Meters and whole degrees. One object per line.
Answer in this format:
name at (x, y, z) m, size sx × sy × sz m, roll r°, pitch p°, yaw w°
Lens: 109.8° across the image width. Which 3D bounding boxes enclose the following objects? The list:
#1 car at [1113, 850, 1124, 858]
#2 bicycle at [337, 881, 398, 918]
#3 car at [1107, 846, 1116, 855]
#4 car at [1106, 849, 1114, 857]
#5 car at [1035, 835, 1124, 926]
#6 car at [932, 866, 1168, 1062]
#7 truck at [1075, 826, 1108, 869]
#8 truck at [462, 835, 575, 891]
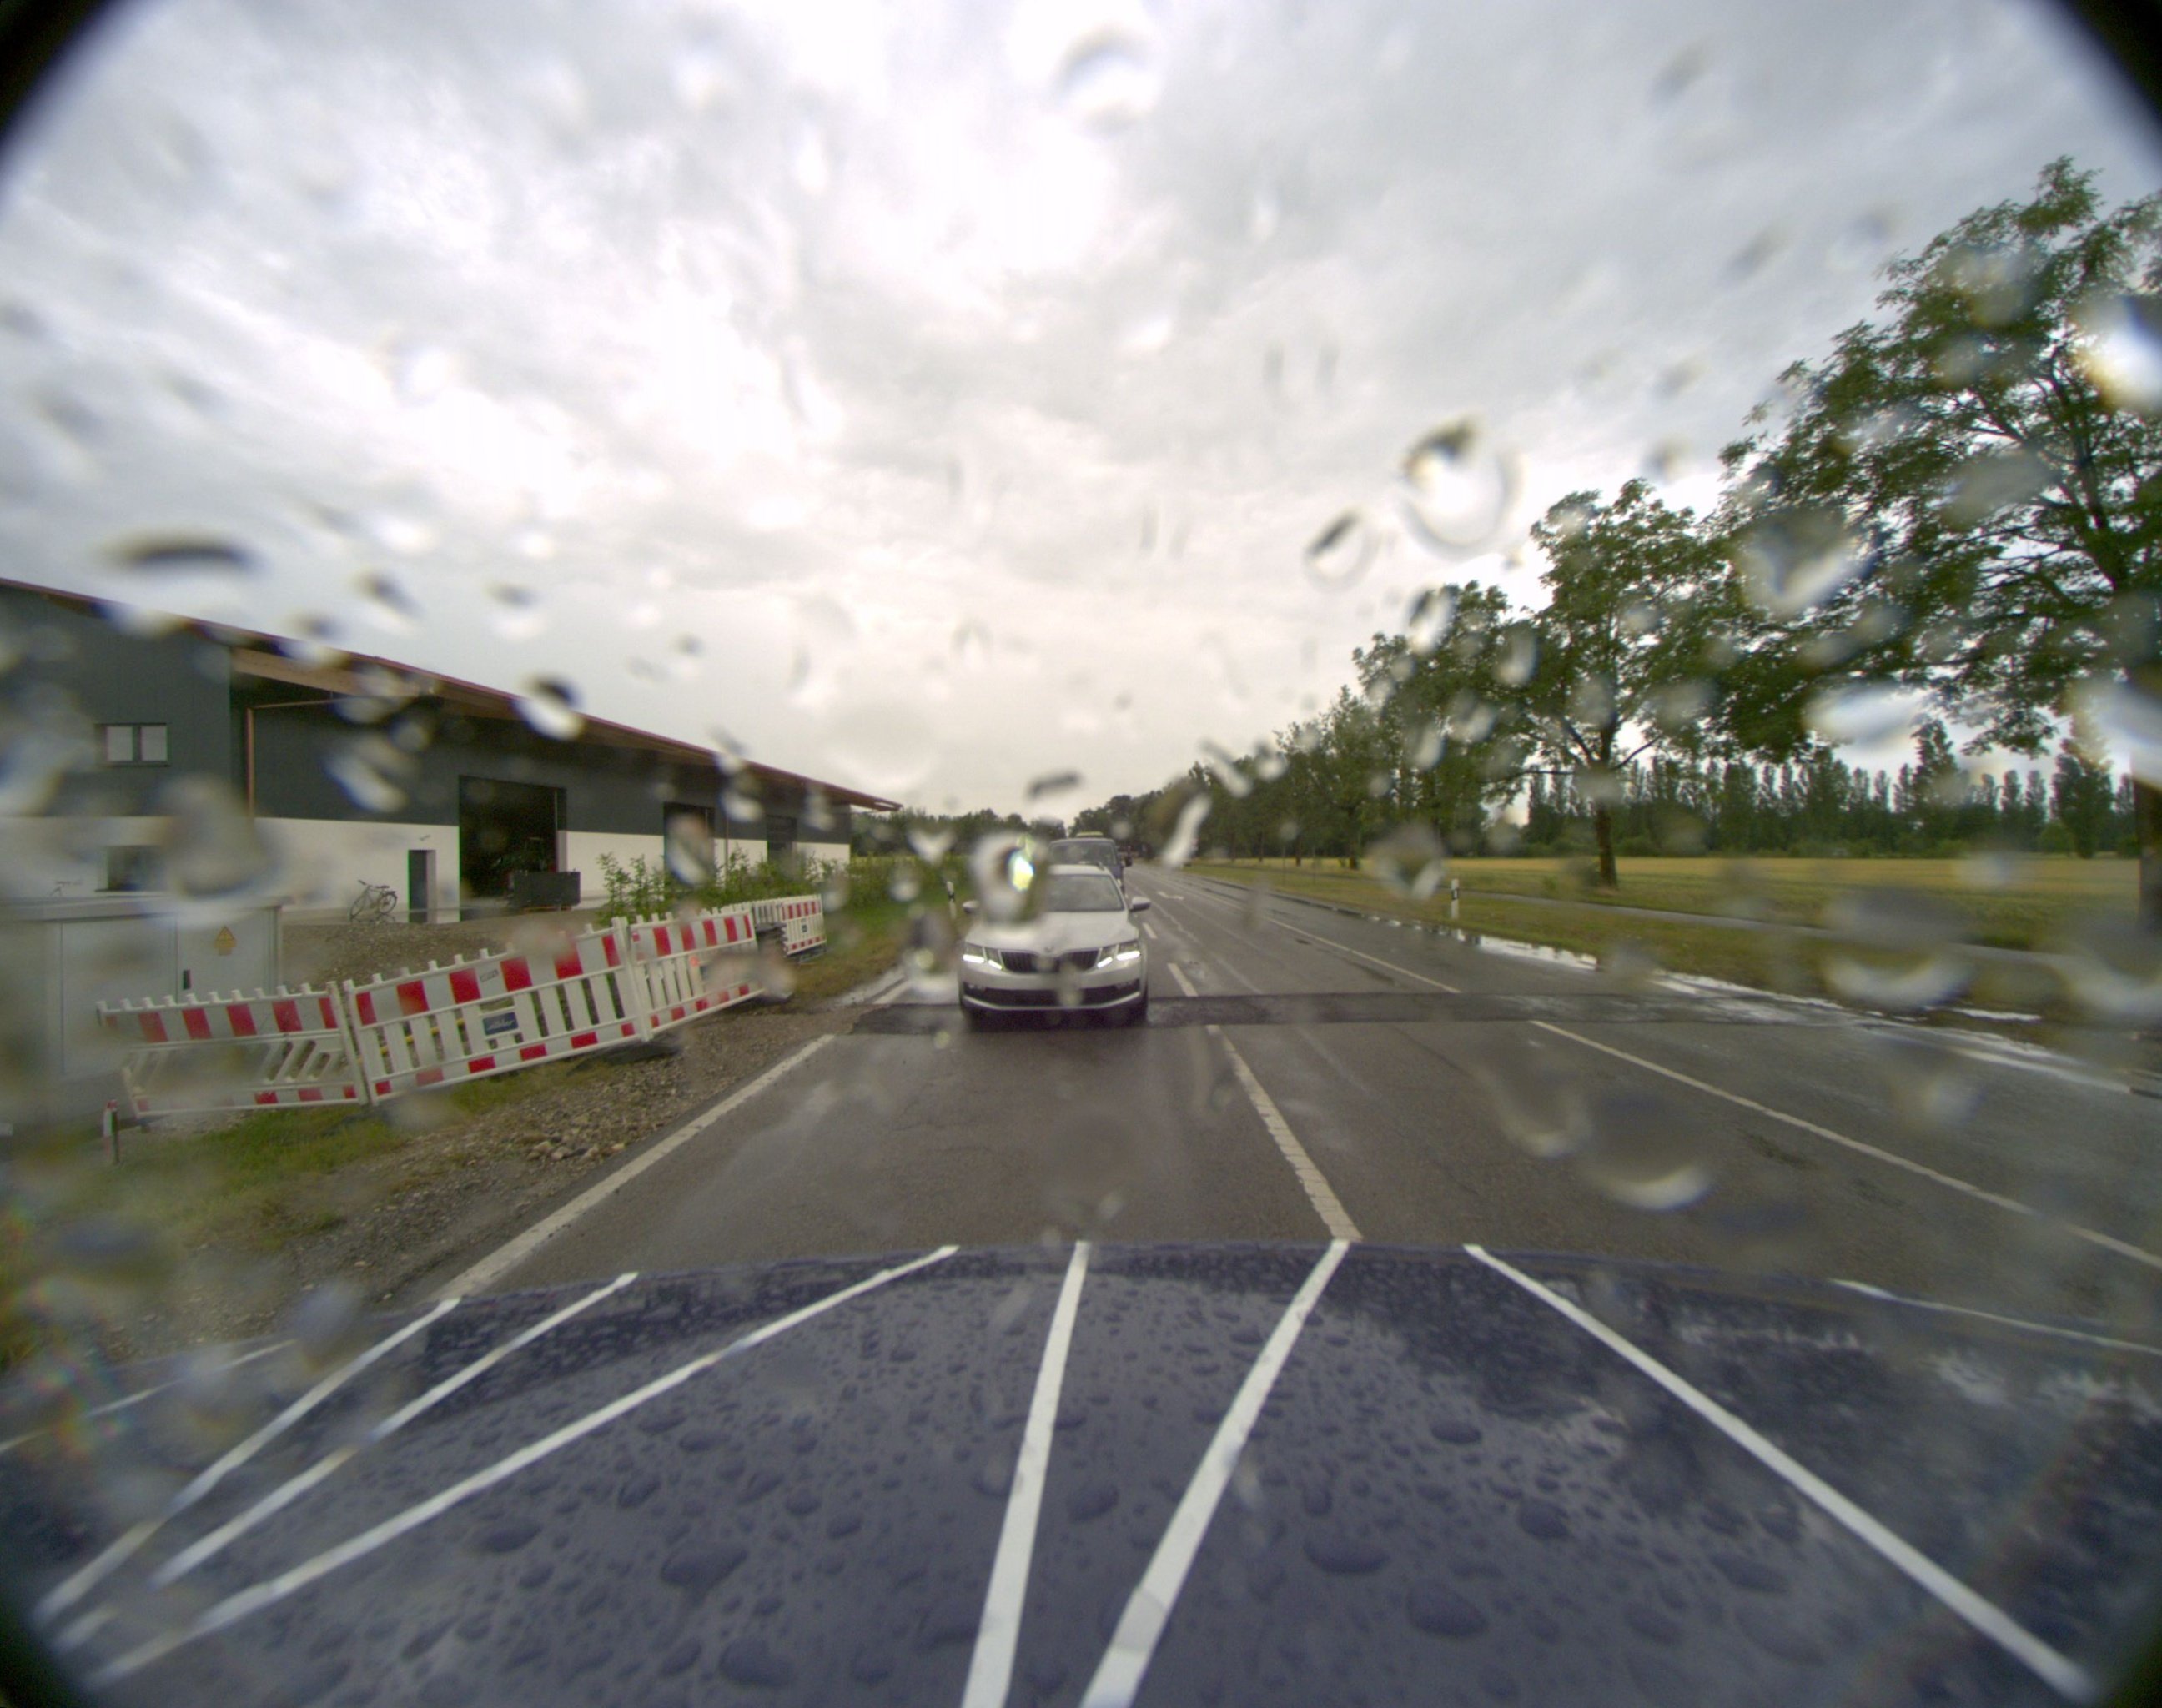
car at (6.863, 0.059, 139.586) m, size 1.724 × 1.396 × 4.043 m, roll 1°, pitch 1°, yaw 0°
bicycle at (-23.076, 1.458, 24.609) m, size 0.391 × 1.066 × 1.661 m, roll 0°, pitch 1°, yaw 1°
car at (6.969, -0.828, 176.494) m, size 1.921 × 1.851 × 4.684 m, roll 1°, pitch 1°, yaw 0°
car at (6.310, -0.298, 168.197) m, size 1.708 × 1.661 × 4.156 m, roll 1°, pitch 1°, yaw 2°
car at (0.001, 0.556, 18.265) m, size 1.892 × 1.939 × 4.000 m, roll 0°, pitch 1°, yaw 1°
car at (-0.218, 0.927, 8.419) m, size 1.843 × 1.379 × 4.569 m, roll -2°, pitch 1°, yaw 1°
truck at (1.042, -0.646, 76.122) m, size 2.931 × 3.829 × 14.119 m, roll 0°, pitch 0°, yaw 1°
truck at (-32.276, 0.473, 43.877) m, size 2.496 × 2.996 × 5.343 m, roll 0°, pitch 1°, yaw 1°
